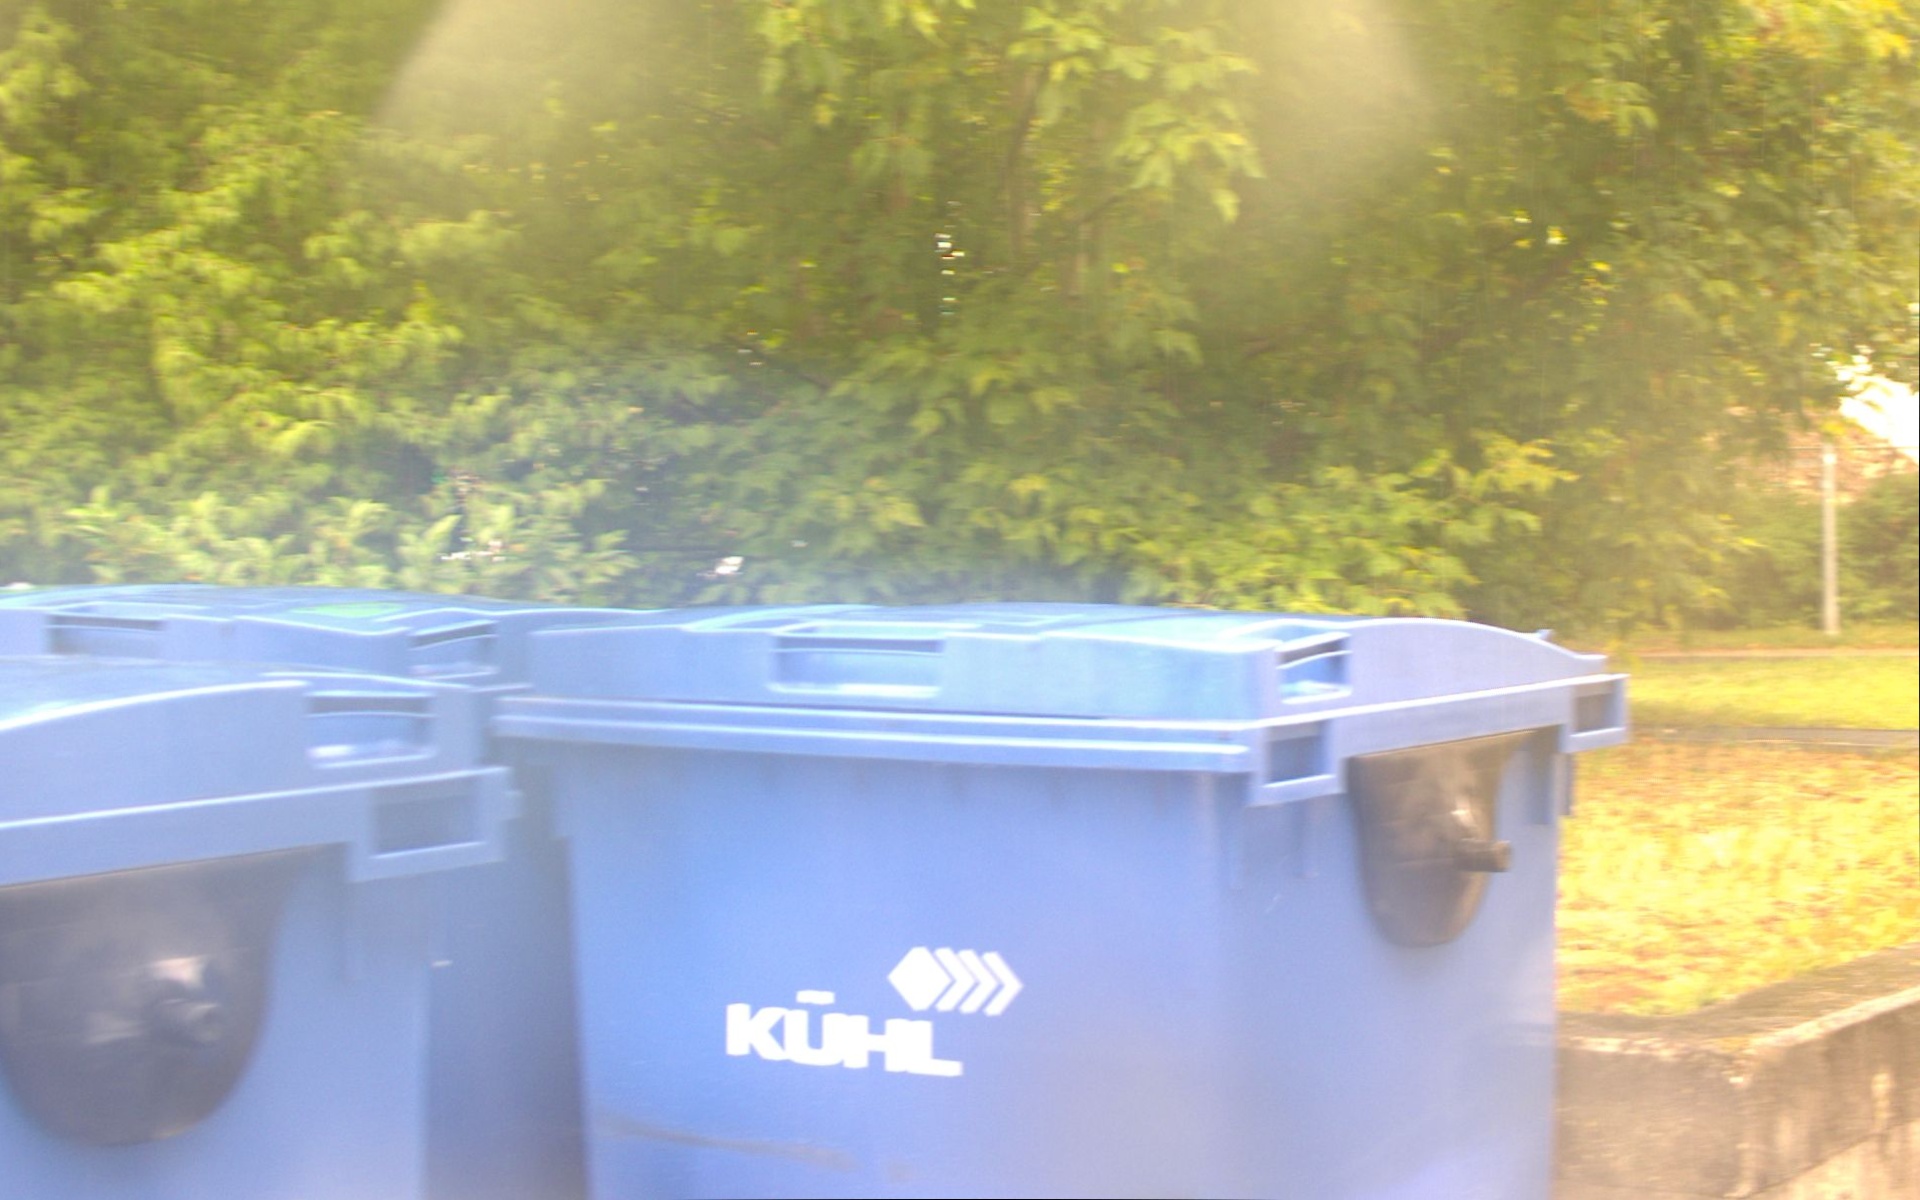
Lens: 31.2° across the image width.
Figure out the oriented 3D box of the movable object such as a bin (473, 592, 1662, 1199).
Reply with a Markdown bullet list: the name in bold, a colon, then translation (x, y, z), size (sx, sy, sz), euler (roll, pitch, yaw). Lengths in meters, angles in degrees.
- **movable object such as a bin**: translation (0.155, 0.679, 4.607), size (1.224, 1.332, 1.004), euler (1, 2, 37)

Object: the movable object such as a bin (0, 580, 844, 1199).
- **movable object such as a bin**: translation (-0.976, 0.661, 5.313), size (1.224, 1.332, 1.004), euler (1, 3, 37)

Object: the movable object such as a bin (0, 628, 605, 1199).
- **movable object such as a bin**: translation (-1.175, 0.718, 3.439), size (1.205, 1.332, 1.114), euler (1, 2, 41)
